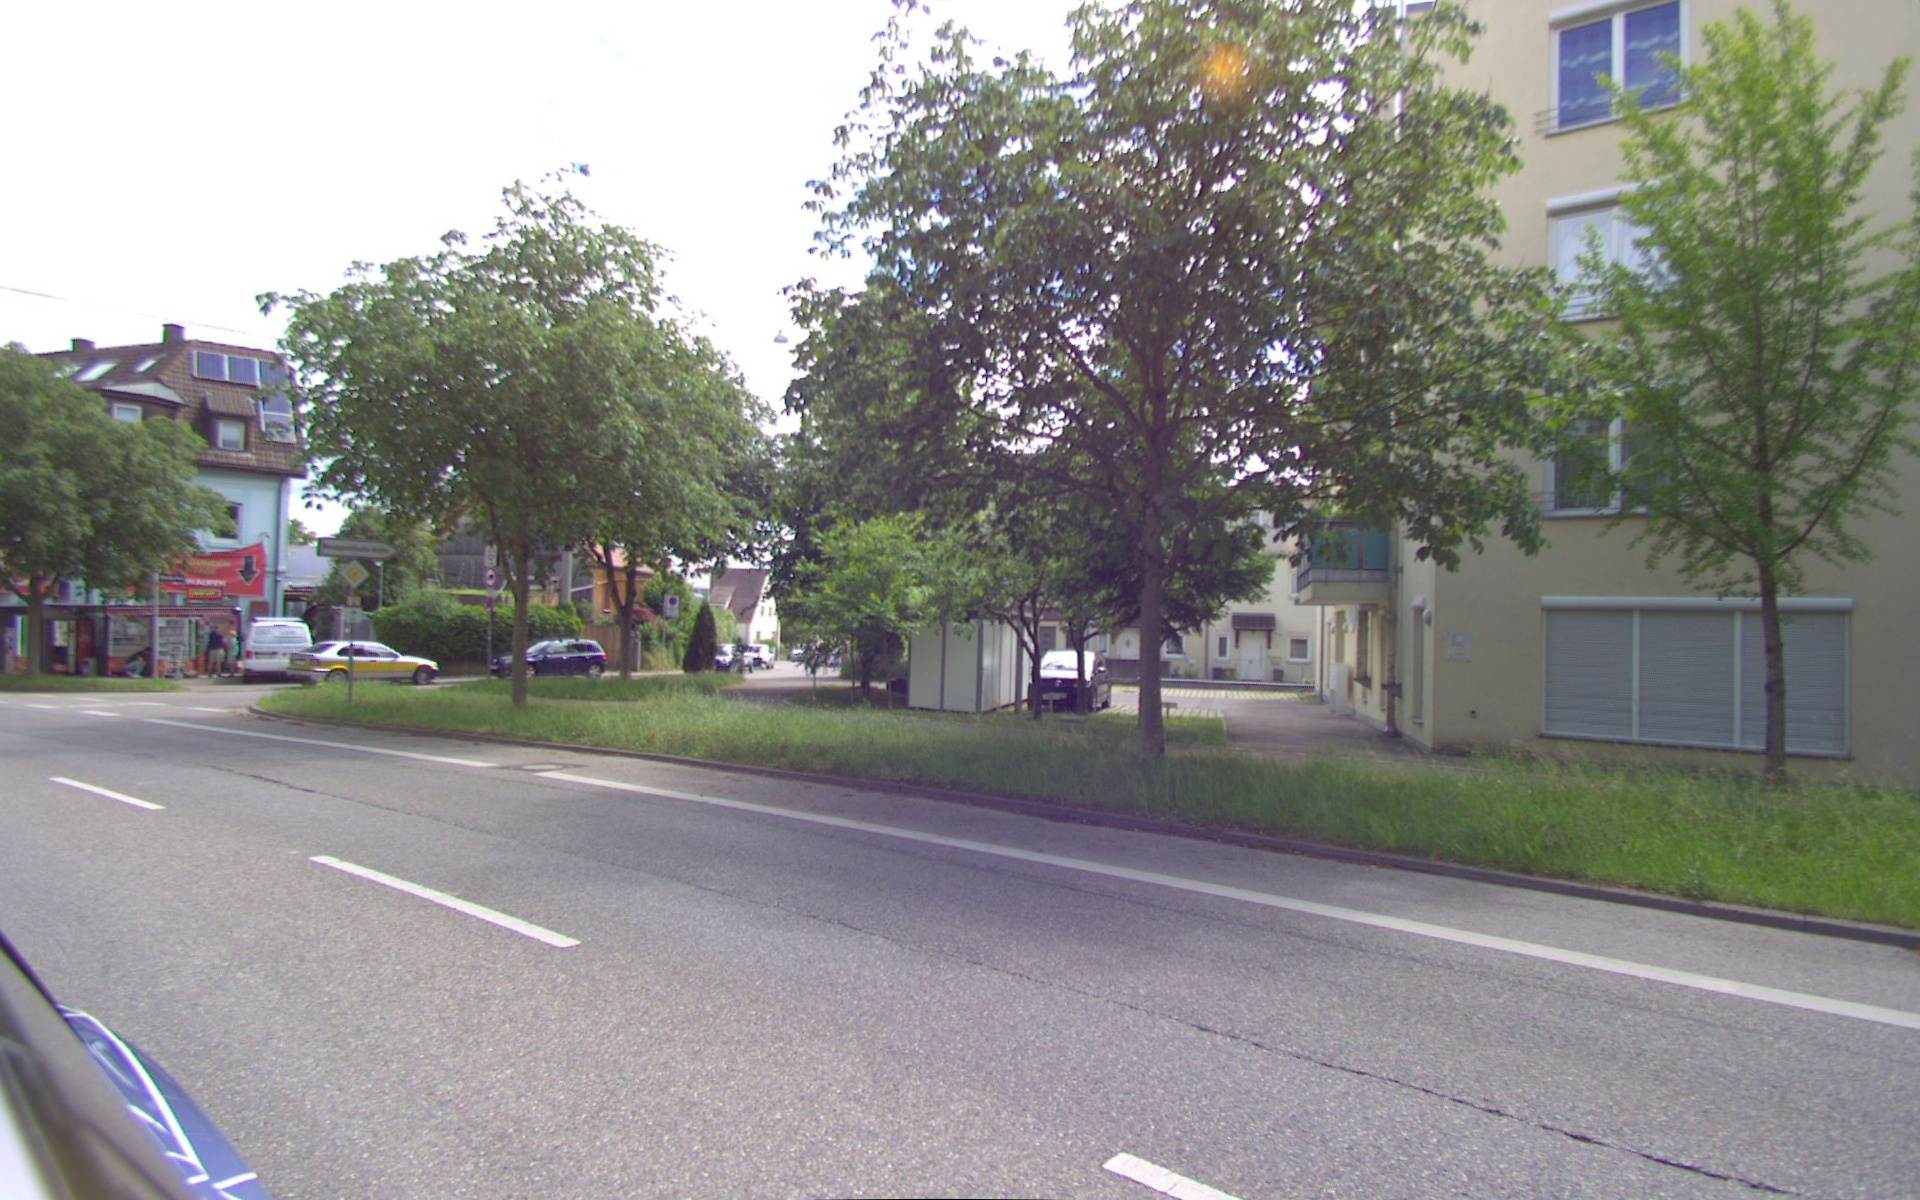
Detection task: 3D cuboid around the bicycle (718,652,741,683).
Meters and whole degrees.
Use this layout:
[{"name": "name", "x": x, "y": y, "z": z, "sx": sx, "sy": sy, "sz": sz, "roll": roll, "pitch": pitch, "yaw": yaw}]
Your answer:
[{"name": "bicycle", "x": -7.426, "y": 2.155, "z": 32.635, "sx": 0.457, "sy": 0.866, "sz": 2.228, "roll": 1, "pitch": -1, "yaw": -6}]

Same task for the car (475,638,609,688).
[{"name": "car", "x": -14.558, "y": 2.160, "z": 35.418, "sx": 1.812, "sy": 1.560, "sz": 3.954, "roll": 1, "pitch": -1, "yaw": 35}]

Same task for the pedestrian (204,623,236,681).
[{"name": "pedestrian", "x": -24.694, "y": 1.722, "z": 33.791, "sx": 0.558, "sy": 1.910, "sz": 0.624, "roll": 1, "pitch": -1, "yaw": 6}]

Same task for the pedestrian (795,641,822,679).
[{"name": "pedestrian", "x": -6.574, "y": 2.601, "z": 43.907, "sx": 0.811, "sy": 1.607, "sz": 0.728, "roll": -6, "pitch": -5, "yaw": 32}]

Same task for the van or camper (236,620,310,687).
[{"name": "van or camper", "x": -22.585, "y": 1.696, "z": 33.185, "sx": 1.761, "sy": 2.009, "sz": 4.389, "roll": 3, "pitch": -2, "yaw": -37}]

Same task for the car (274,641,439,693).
[{"name": "car", "x": -18.533, "y": 2.020, "z": 31.258, "sx": 1.808, "sy": 1.424, "sz": 3.989, "roll": 1, "pitch": -2, "yaw": 29}]

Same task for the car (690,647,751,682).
[{"name": "car", "x": -10.982, "y": 2.934, "z": 46.592, "sx": 1.574, "sy": 1.332, "sz": 3.771, "roll": 2, "pitch": -1, "yaw": 5}]

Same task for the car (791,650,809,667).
[{"name": "car", "x": -16.909, "y": 6.154, "z": 106.995, "sx": 1.570, "sy": 1.570, "sz": 3.631, "roll": 2, "pitch": -1, "yaw": -4}]

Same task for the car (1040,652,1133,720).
[{"name": "car", "x": 3.108, "y": 2.008, "z": 24.366, "sx": 1.422, "sy": 1.461, "sz": 3.372, "roll": 0, "pitch": -3, "yaw": 22}]

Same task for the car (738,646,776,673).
[{"name": "car", "x": -11.903, "y": 3.468, "z": 59.468, "sx": 1.570, "sy": 1.332, "sz": 3.780, "roll": 2, "pitch": -1, "yaw": -3}]

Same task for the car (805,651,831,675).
[{"name": "car", "x": -10.631, "y": 4.697, "z": 75.931, "sx": 1.570, "sy": 1.570, "sz": 3.631, "roll": 2, "pitch": -1, "yaw": -4}]
